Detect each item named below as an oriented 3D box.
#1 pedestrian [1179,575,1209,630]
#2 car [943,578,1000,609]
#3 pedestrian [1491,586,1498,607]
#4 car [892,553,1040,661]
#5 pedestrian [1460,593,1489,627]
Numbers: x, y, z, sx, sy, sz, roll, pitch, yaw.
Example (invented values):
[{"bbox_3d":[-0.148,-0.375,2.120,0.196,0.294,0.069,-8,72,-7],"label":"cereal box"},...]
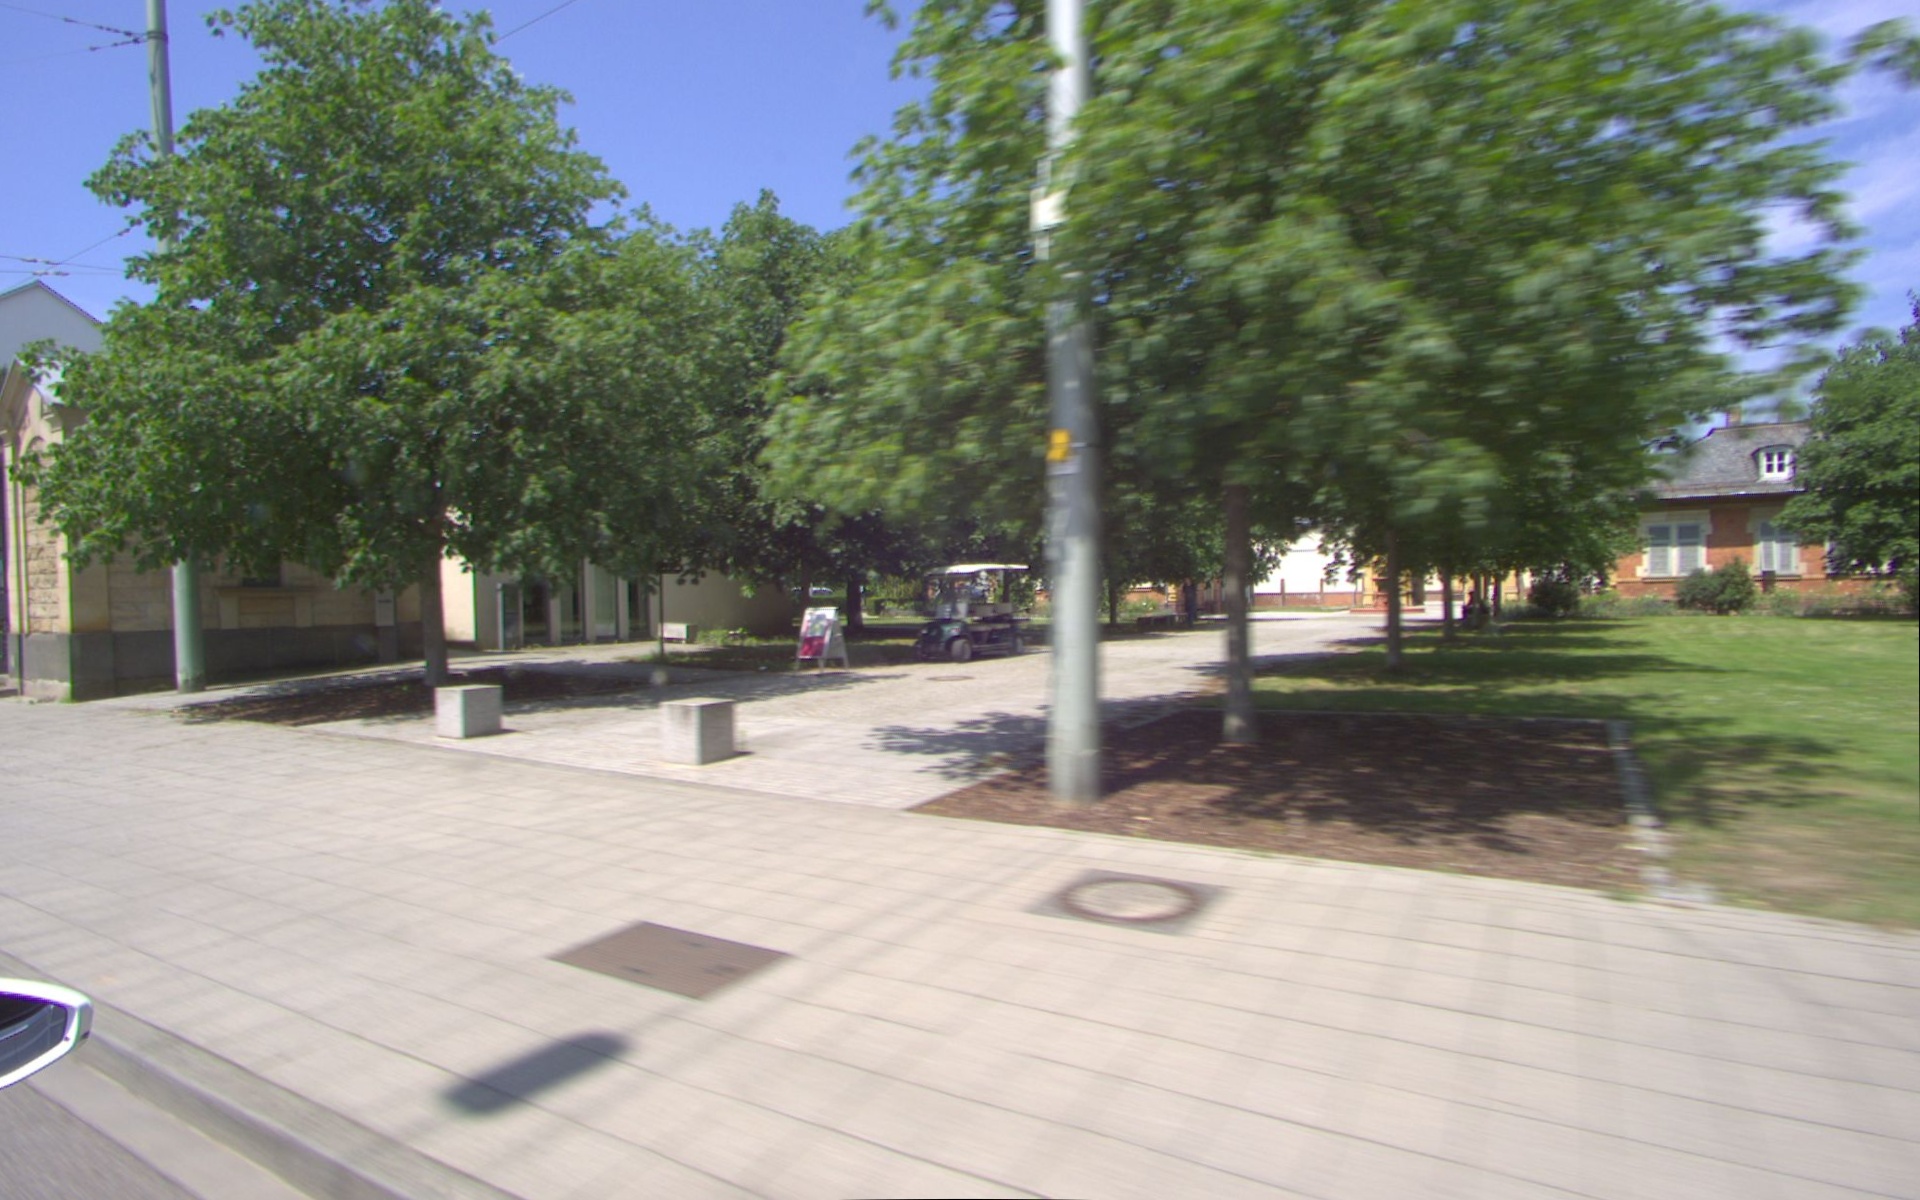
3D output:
[{"bbox_3d":[7.926,0.079,33.908,0.758,1.817,0.770,0,1,31],"label":"pedestrian"},{"bbox_3d":[0.801,-0.445,69.187,3.591,2.020,1.670,-1,1,32],"label":"car"},{"bbox_3d":[37.805,-0.265,70.832,0.410,1.508,0.501,0,2,31],"label":"pedestrian"},{"bbox_3d":[0.206,0.128,20.612,1.444,2.040,3.323,-2,0,33],"label":"car"},{"bbox_3d":[17.431,0.323,33.927,0.819,1.129,0.792,0,2,32],"label":"pedestrian"}]
